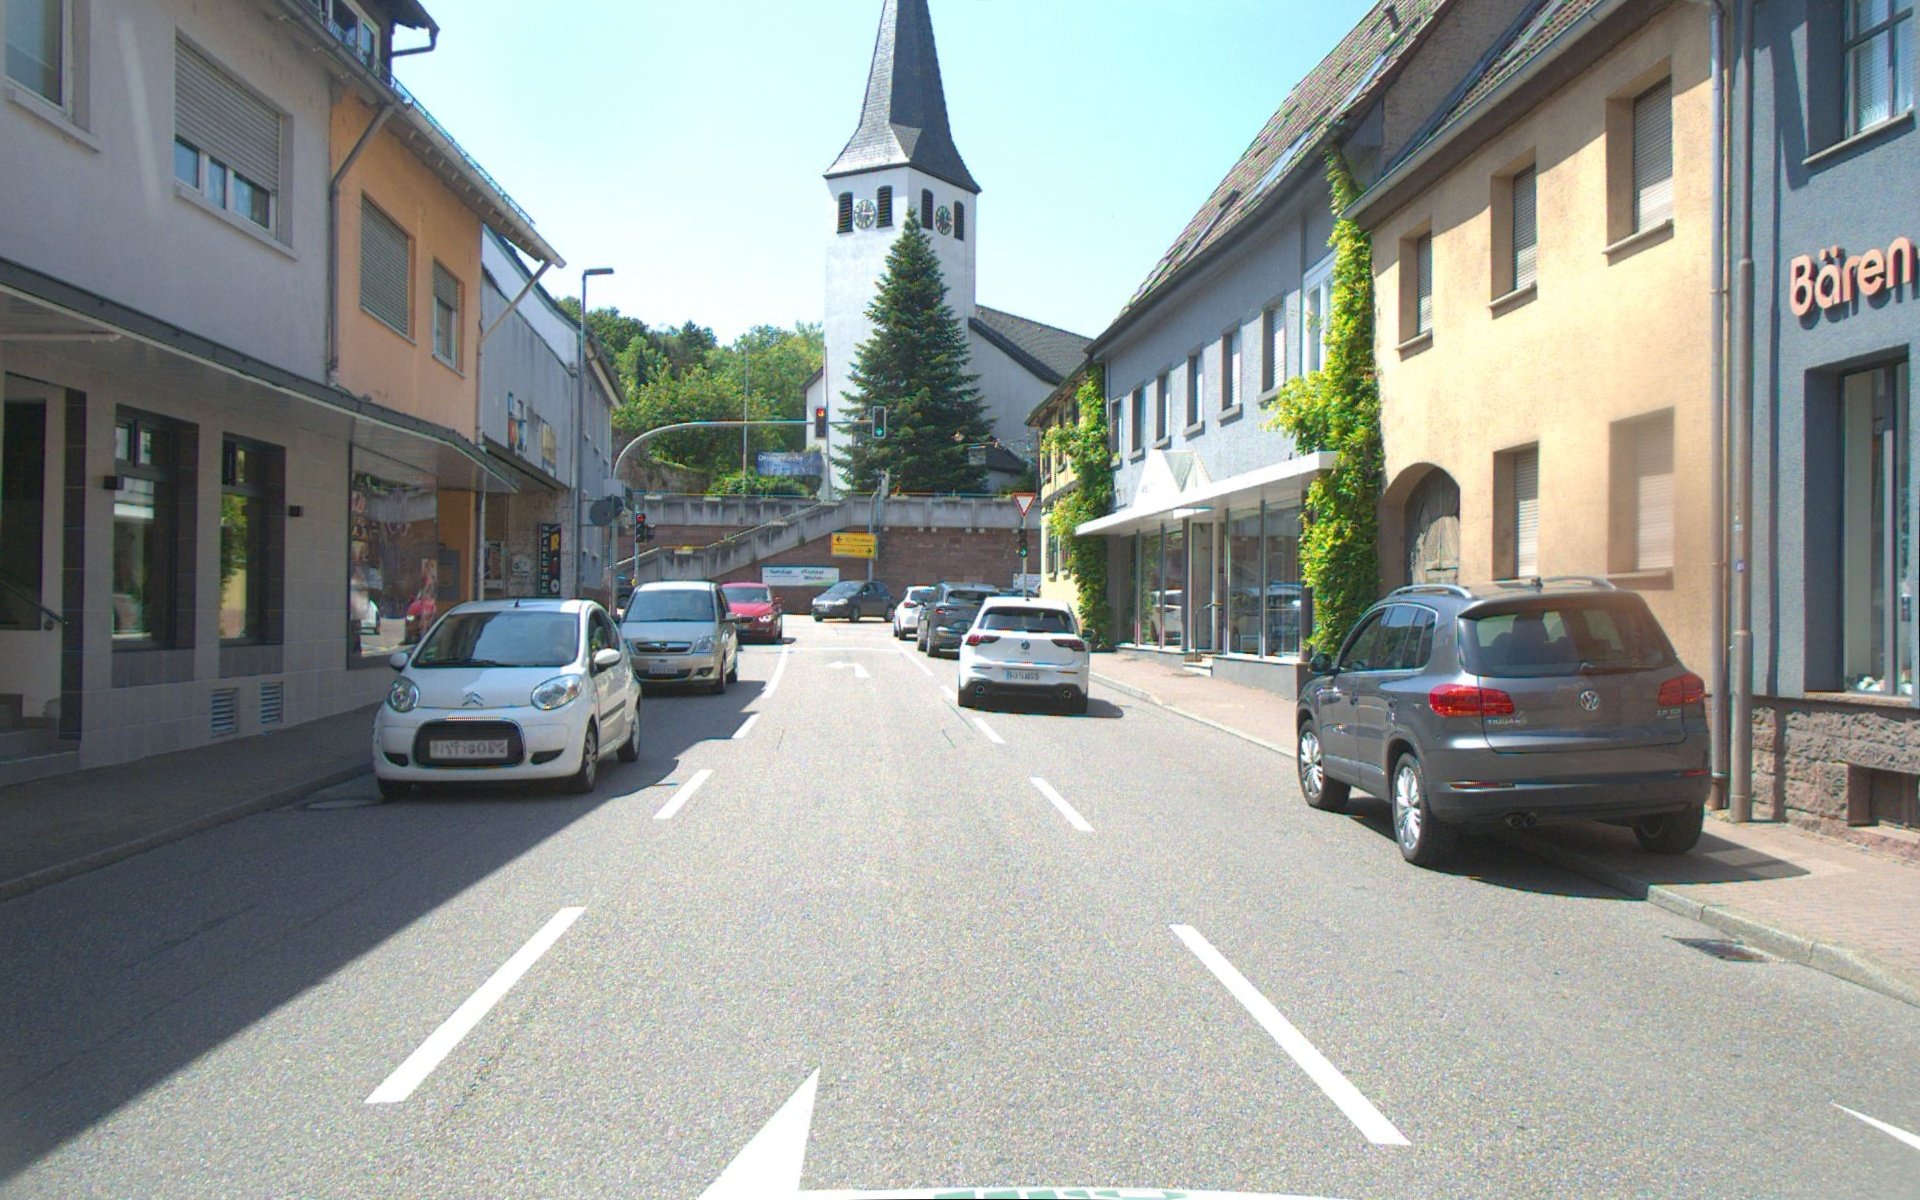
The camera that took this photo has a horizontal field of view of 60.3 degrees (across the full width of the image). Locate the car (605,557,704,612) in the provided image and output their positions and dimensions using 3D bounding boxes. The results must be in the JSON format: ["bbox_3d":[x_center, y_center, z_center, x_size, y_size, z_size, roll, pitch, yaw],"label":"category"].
[{"bbox_3d":[-12.909,-0.635,70.071,3.911,2.049,1.997,3,-1,-7],"label":"car"}]

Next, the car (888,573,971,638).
[{"bbox_3d":[-0.897,0.119,46.462,1.912,1.609,4.321,1,2,-6],"label":"car"}]

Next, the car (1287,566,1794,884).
[{"bbox_3d":[3.670,0.697,11.343,1.953,1.738,4.100,-1,0,-1],"label":"car"}]

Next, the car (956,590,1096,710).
[{"bbox_3d":[0.875,0.634,22.890,1.746,1.484,3.863,1,0,1],"label":"car"}]

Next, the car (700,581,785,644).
[{"bbox_3d":[-5.393,0.271,41.360,1.683,1.433,4.283,-1,1,-2],"label":"car"}]

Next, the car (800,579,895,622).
[{"bbox_3d":[-4.028,-0.020,59.684,1.684,1.447,3.816,0,2,27],"label":"car"}]

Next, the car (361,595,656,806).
[{"bbox_3d":[-3.557,0.716,13.603,1.564,1.480,3.446,-1,0,-2],"label":"car"}]

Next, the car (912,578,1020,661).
[{"bbox_3d":[0.068,0.382,37.125,1.912,1.609,4.321,1,2,-6],"label":"car"}]

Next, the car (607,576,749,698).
[{"bbox_3d":[-4.184,0.494,25.017,1.645,1.645,3.819,-1,1,-3],"label":"car"}]
